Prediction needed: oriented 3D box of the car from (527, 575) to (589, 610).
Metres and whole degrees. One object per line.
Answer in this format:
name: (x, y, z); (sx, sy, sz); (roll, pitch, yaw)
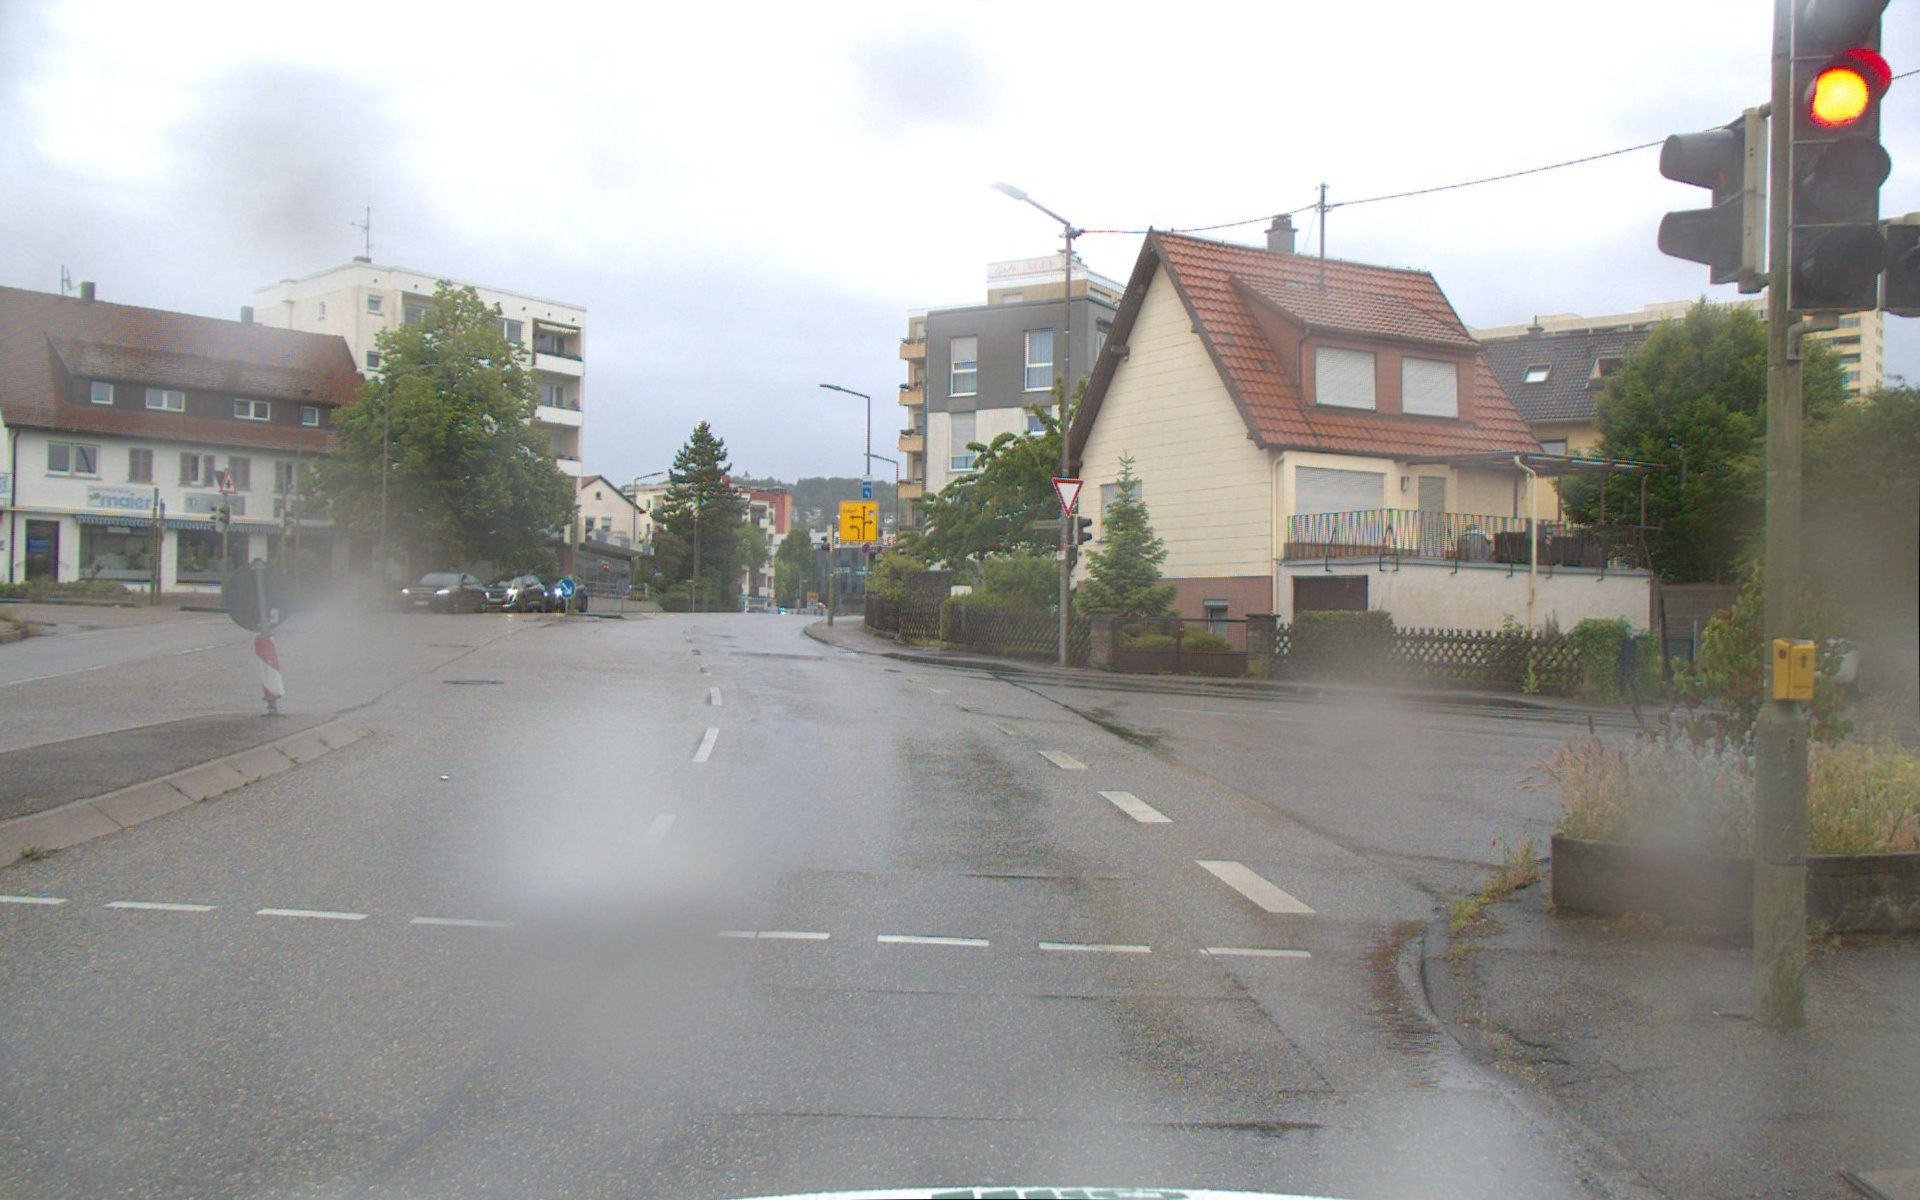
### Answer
car: (-17.255, -0.348, 71.150); (1.742, 1.445, 3.830); (1, 1, -1)

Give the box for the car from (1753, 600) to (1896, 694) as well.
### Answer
car: (15.619, 0.793, 29.792); (1.710, 1.541, 3.985); (1, 1, 36)

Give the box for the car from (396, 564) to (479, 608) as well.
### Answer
car: (-18.248, -0.484, 57.924); (1.742, 1.445, 3.830); (1, 1, -1)

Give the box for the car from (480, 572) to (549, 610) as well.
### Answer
car: (-17.569, -0.354, 65.358); (1.680, 1.411, 4.020); (1, 1, -1)
